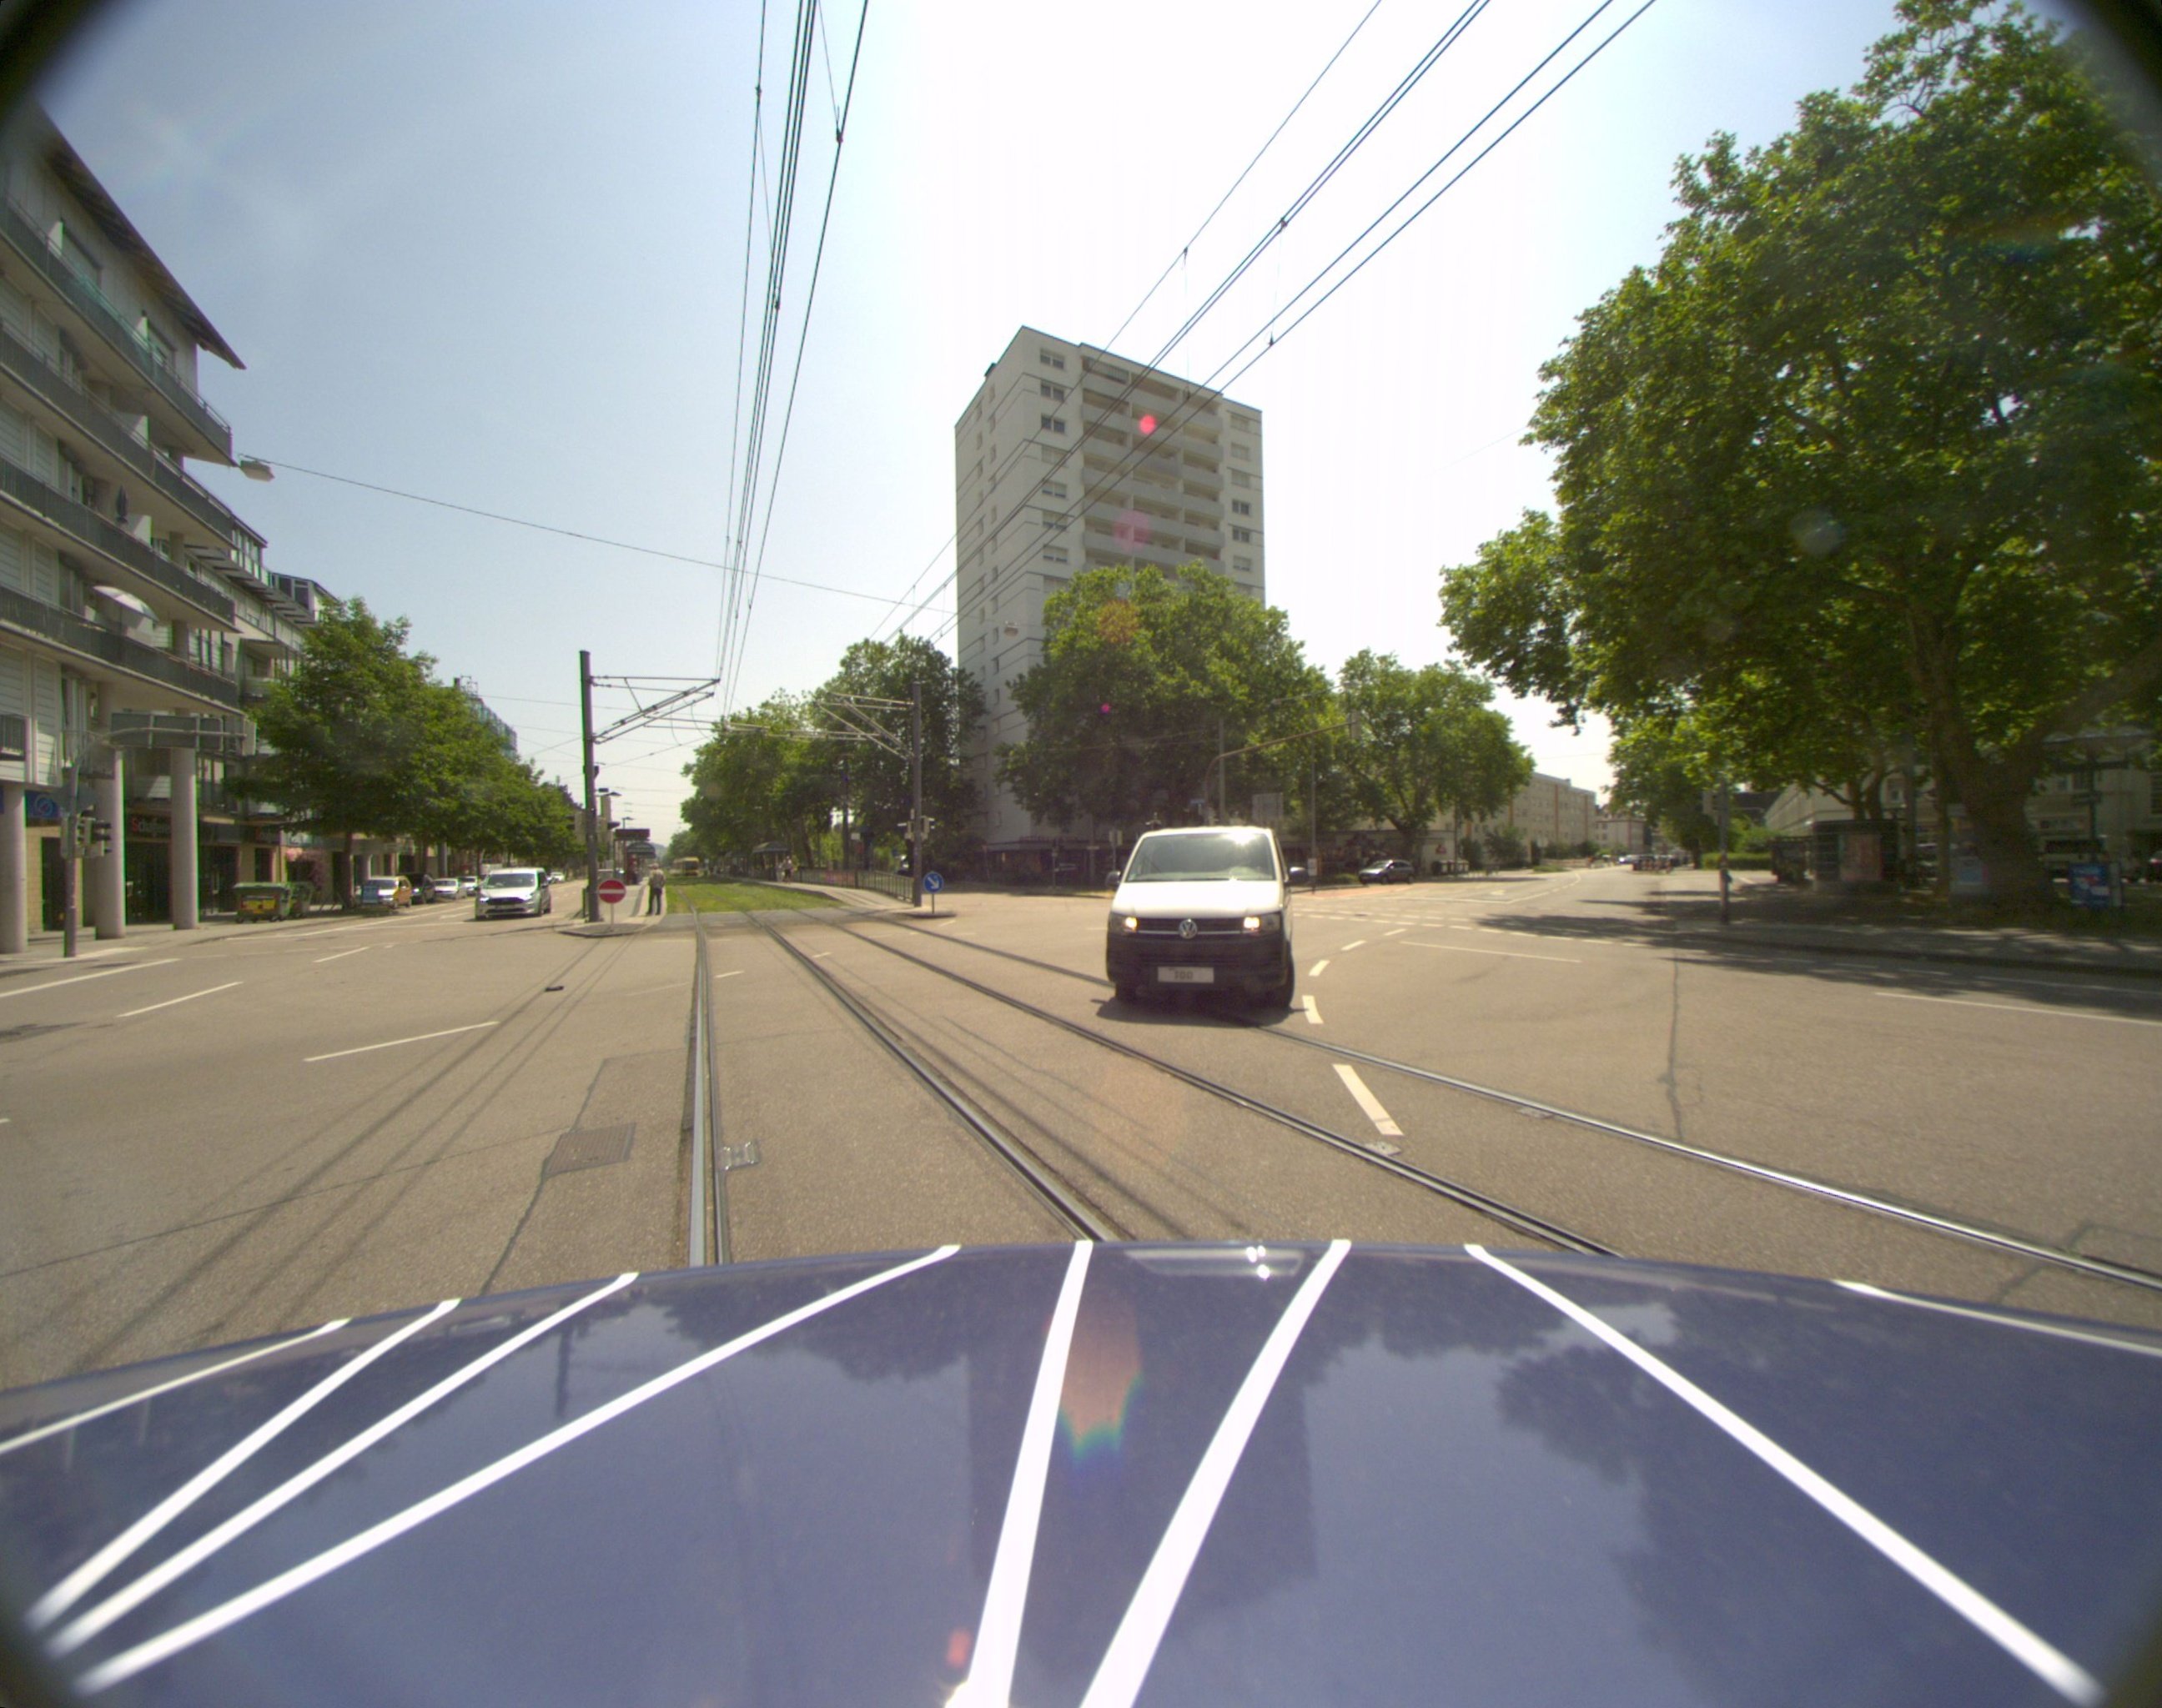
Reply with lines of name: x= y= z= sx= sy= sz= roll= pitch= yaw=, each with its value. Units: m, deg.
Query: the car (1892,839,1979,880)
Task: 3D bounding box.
car: x=45.733 y=0.260 z=40.663 sx=4.005 sy=2.002 sz=1.996 roll=-2 pitch=1 yaw=-24

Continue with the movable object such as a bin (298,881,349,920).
movable object such as a bin: x=-29.648 y=1.803 z=29.747 sx=1.217 sy=1.428 sz=1.006 roll=-2 pitch=1 yaw=-35

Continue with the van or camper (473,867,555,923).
van or camper: x=-20.318 y=1.387 z=27.401 sx=1.770 sy=1.748 sz=4.583 roll=-2 pitch=1 yaw=-30

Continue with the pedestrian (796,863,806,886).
pedestrian: x=-19.494 y=1.456 z=52.950 sx=0.548 sy=1.571 sz=0.514 roll=-2 pitch=1 yaw=-30

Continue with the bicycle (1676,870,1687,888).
bicycle: x=55.012 y=2.284 z=69.605 sx=1.847 sy=1.546 sz=0.595 roll=-2 pitch=1 yaw=-44

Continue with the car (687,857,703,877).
car: x=-69.127 y=2.304 z=136.007 sx=2.279 sy=3.319 sz=12.007 roll=-1 pitch=0 yaw=-28

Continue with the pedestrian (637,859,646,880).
pedestrian: x=-33.808 y=1.170 z=58.495 sx=0.551 sy=1.597 sz=0.552 roll=-2 pitch=1 yaw=-30

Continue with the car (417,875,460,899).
car: x=-42.396 y=2.122 z=50.204 sx=1.690 sy=1.433 sz=3.467 roll=-1 pitch=0 yaw=-33

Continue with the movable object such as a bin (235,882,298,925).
movable object such as a bin: x=-29.285 y=1.762 z=27.340 sx=1.216 sy=1.428 sz=1.006 roll=-2 pitch=1 yaw=-26

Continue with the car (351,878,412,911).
car: x=-35.858 y=2.037 z=39.015 sx=1.689 sy=1.434 sz=3.467 roll=-2 pitch=1 yaw=-33

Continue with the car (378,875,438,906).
car: x=-38.616 y=2.058 z=43.696 sx=1.895 sy=1.522 sz=3.990 roll=-2 pitch=1 yaw=-32

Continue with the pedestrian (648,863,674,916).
pedestrian: x=-13.815 y=1.162 z=25.016 sx=0.681 sy=1.695 sz=0.552 roll=-2 pitch=1 yaw=-26

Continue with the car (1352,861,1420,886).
car: x=19.998 y=1.254 z=49.813 sx=4.063 sy=1.453 sz=1.942 roll=-2 pitch=1 yaw=-27

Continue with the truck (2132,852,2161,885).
truck: x=48.431 y=0.629 z=33.927 sx=2.986 sy=1.369 sz=1.466 roll=-2 pitch=1 yaw=-30

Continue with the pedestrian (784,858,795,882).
pedestrian: x=-19.600 y=1.064 z=51.023 sx=0.554 sy=1.597 sz=0.678 roll=-2 pitch=1 yaw=-30

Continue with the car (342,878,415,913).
car: x=-36.105 y=2.077 z=39.157 sx=2.003 sy=1.522 sz=3.990 roll=-2 pitch=1 yaw=-32

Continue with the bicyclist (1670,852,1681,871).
bicyclist: x=54.190 y=0.700 z=69.279 sx=0.789 sy=1.725 sz=0.703 roll=-2 pitch=1 yaw=-44

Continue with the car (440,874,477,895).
car: x=-45.024 y=2.178 z=55.004 sx=1.690 sy=1.433 sz=3.467 roll=-1 pitch=0 yaw=-33

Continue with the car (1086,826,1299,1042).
car: x=1.685 y=0.731 z=9.474 sx=1.850 sy=1.942 sz=4.949 roll=-1 pitch=0 yaw=17

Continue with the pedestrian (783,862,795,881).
pedestrian: x=-20.947 y=1.243 z=54.520 sx=0.680 sy=1.341 sz=0.630 roll=-2 pitch=1 yaw=-30
